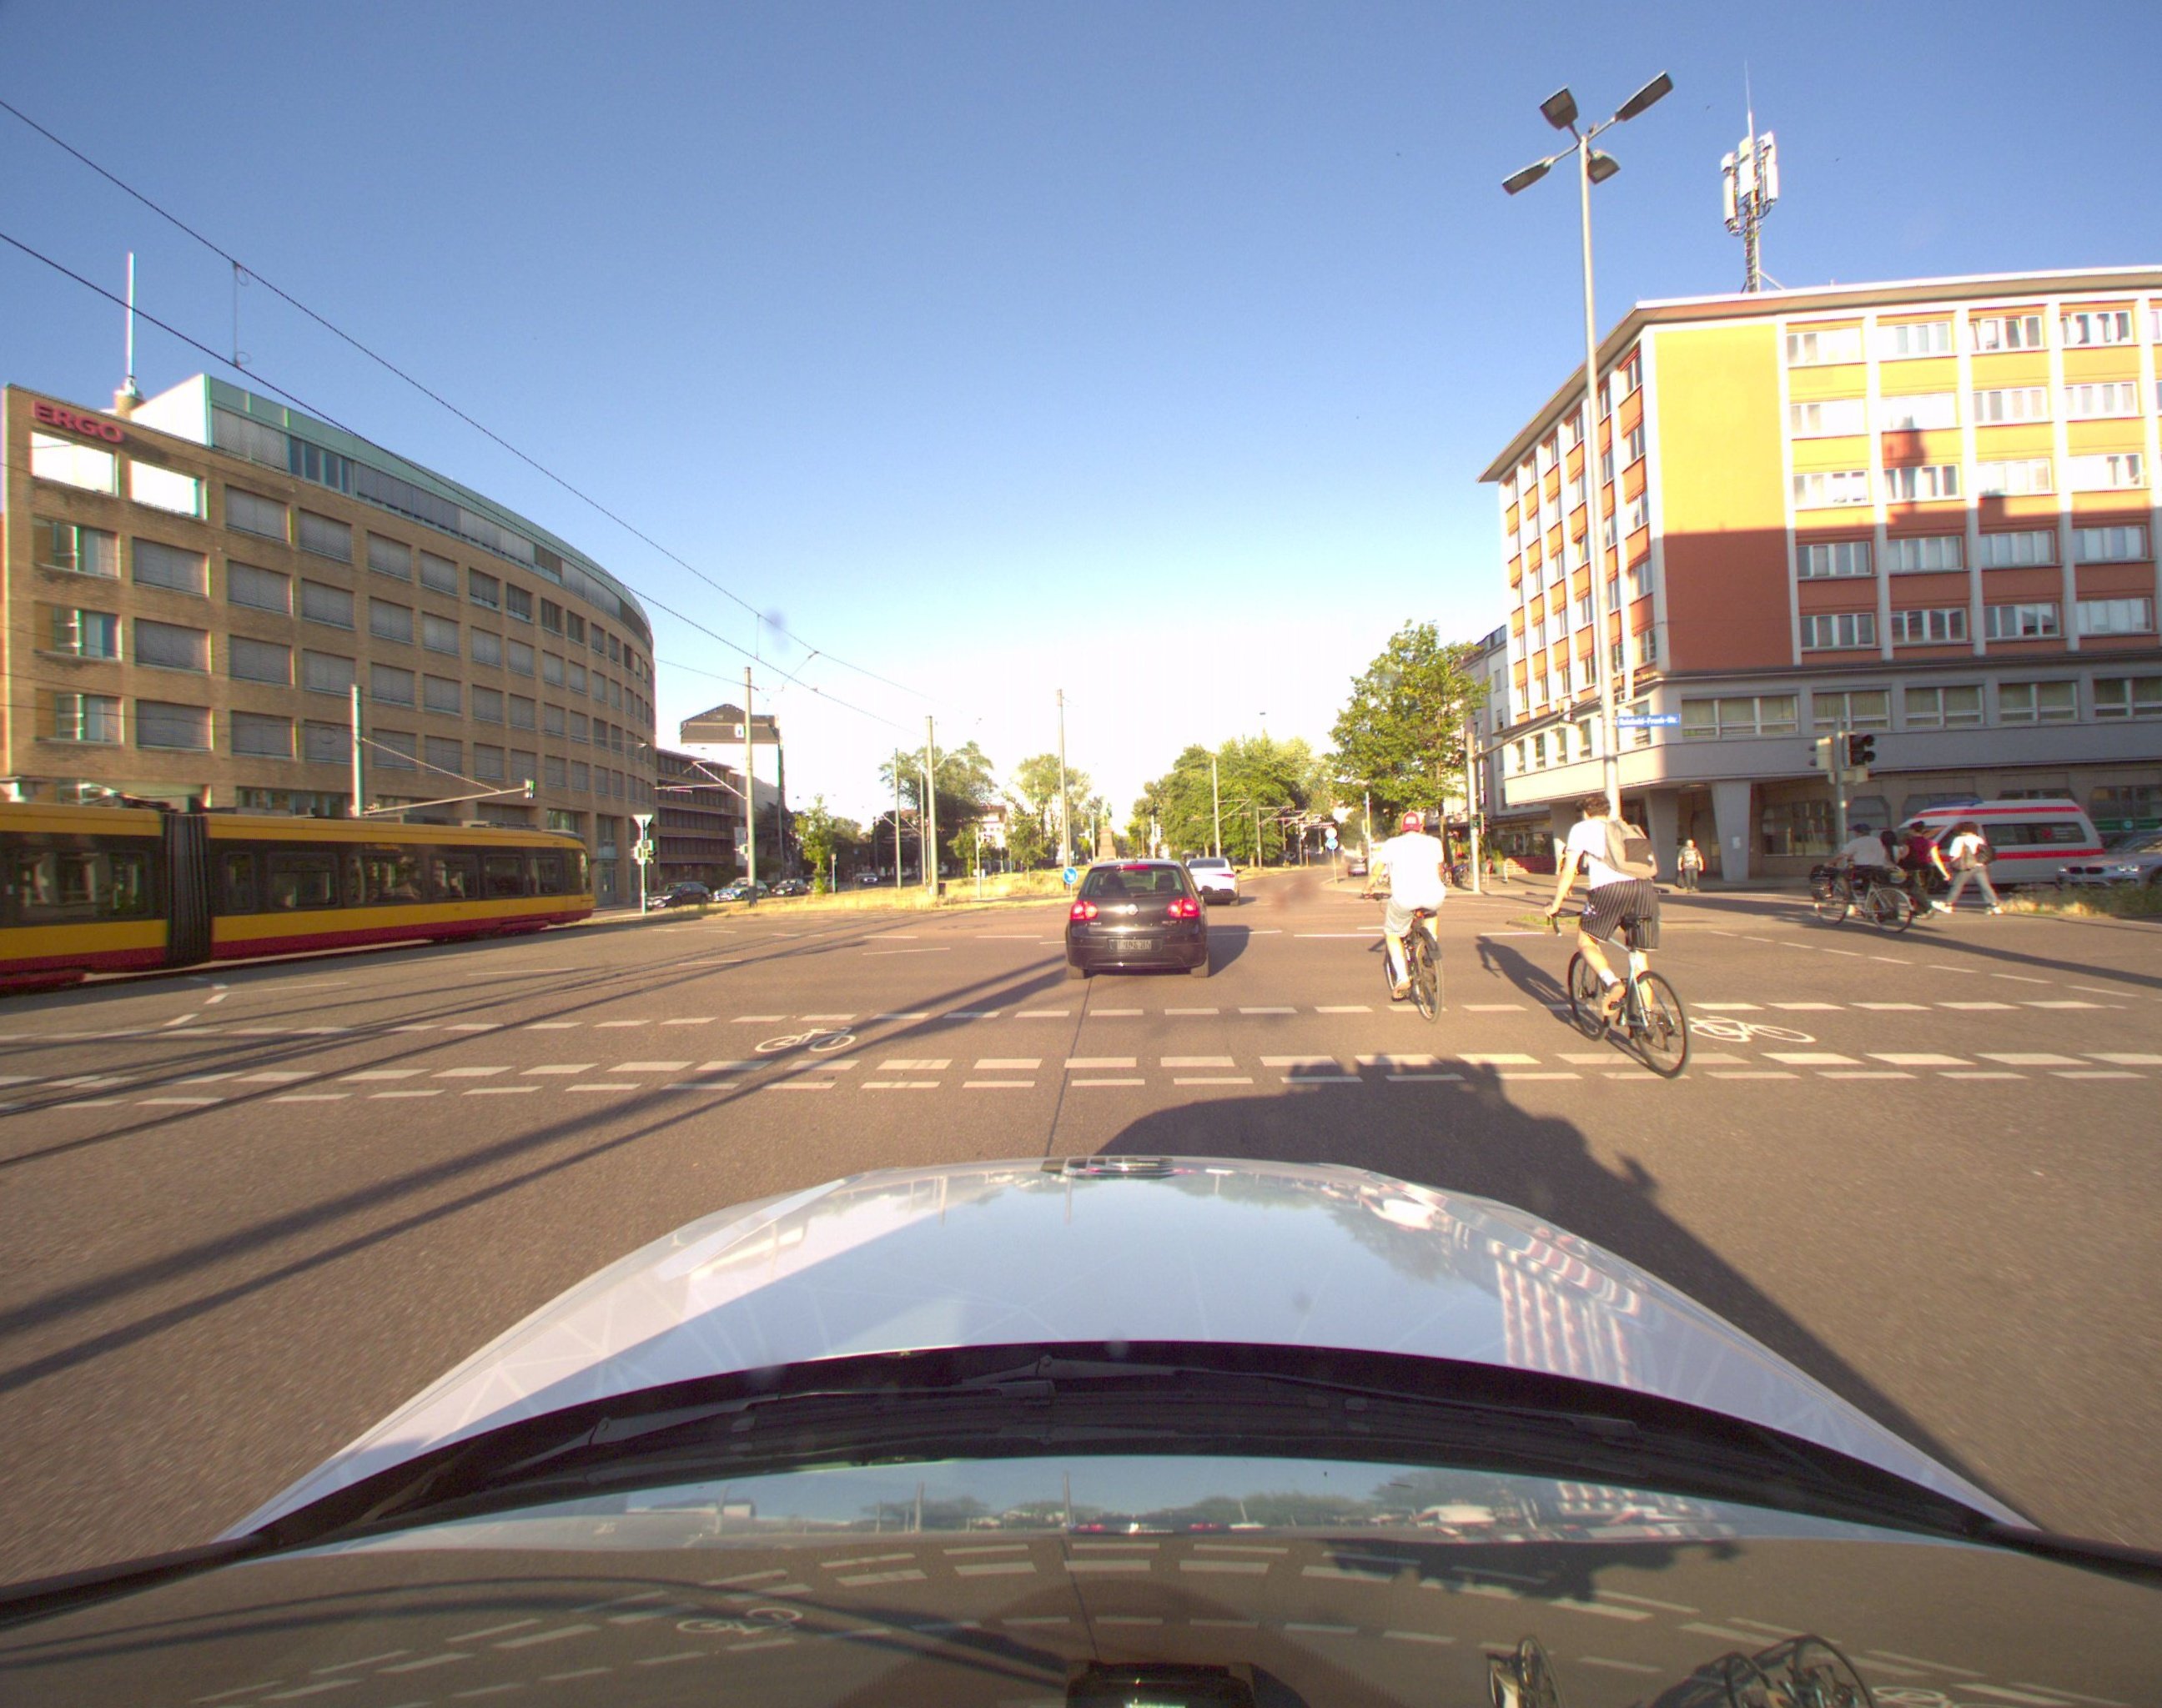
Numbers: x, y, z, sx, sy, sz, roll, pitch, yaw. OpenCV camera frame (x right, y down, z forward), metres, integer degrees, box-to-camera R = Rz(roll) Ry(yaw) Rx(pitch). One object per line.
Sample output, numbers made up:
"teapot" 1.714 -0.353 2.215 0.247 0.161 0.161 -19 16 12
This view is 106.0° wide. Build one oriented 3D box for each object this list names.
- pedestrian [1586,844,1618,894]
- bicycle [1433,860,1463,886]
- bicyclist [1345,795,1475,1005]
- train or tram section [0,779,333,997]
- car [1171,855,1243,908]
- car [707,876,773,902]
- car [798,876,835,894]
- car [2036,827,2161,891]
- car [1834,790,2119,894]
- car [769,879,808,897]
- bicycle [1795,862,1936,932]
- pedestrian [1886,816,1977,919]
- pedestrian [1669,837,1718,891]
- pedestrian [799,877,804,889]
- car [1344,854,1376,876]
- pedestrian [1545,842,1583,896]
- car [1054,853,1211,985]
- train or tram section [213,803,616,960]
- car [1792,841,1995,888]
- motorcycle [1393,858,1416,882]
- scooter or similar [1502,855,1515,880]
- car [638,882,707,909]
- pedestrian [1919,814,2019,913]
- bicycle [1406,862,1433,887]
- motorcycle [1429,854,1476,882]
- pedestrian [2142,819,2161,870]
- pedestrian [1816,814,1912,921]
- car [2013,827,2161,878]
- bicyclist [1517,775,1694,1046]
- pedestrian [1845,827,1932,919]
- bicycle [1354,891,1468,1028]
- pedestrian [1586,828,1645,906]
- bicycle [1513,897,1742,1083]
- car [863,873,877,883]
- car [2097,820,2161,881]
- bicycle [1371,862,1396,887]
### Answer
"pedestrian" 18.237 0.518 28.503 0.566 1.701 0.813 -2 -1 5
"bicycle" 17.646 0.917 39.212 0.641 1.158 2.127 -2 0 5
"bicyclist" 3.033 0.410 7.615 0.822 1.807 1.059 -2 -1 7
"train or tram section" -19.018 0.588 12.228 2.762 3.536 13.260 -2 -1 3
"car" 3.980 0.792 25.232 1.852 1.441 4.212 -2 -1 13
"car" -22.333 2.272 53.600 1.879 1.480 4.789 -2 -1 6
"car" -22.185 2.588 68.346 1.639 1.281 3.743 -2 0 4
"car" 24.974 0.056 18.624 3.970 1.376 1.807 -2 -1 3
"car" 23.708 -0.289 21.733 5.228 2.482 1.927 -2 -1 3
"car" -22.085 2.564 61.591 1.514 1.153 3.600 -2 0 2
"bicycle" 12.191 0.638 12.734 0.518 0.981 1.852 -2 0 5
"pedestrian" 14.308 0.222 13.722 0.678 1.662 0.747 -2 -1 4
"pedestrian" 19.939 0.314 26.528 0.779 1.701 1.028 -2 -1 5
"pedestrian" -34.847 3.616 101.624 0.412 1.430 0.485 -2 -1 3
"car" 21.458 0.846 62.603 1.712 1.472 3.922 -5 -2 26
"pedestrian" 14.525 0.441 24.511 0.678 1.589 0.748 -2 -1 8
"car" 0.882 0.752 11.241 1.737 1.461 4.113 -2 -1 9
"train or tram section" -18.444 0.684 24.102 2.762 3.536 10.578 -2 -1 3
"car" 26.584 0.344 26.776 4.639 1.341 1.842 -2 -1 4
"motorcycle" 17.611 0.841 44.349 0.662 1.242 2.207 -2 -1 10
"scooter or similar" 21.373 0.669 40.710 0.411 1.254 1.189 -2 -1 23
"car" -22.812 2.275 45.612 1.717 1.282 3.792 -2 -1 3
"pedestrian" 15.647 0.164 14.375 0.724 1.662 0.907 -2 -1 4
"bicycle" 16.349 0.968 39.376 0.641 1.126 1.877 -2 0 5
"motorcycle" 19.310 0.731 42.365 2.031 1.406 0.763 -2 -1 11
"pedestrian" 37.967 -0.344 28.478 0.813 1.756 0.641 -2 -1 6
"pedestrian" 12.176 0.214 12.694 0.672 1.590 0.762 -2 -3 5
"car" 33.505 -0.053 26.670 3.745 1.510 1.758 -2 0 4
"bicyclist" 3.790 0.387 5.980 0.670 1.807 0.996 -2 -1 7
"pedestrian" 13.626 0.314 13.768 0.678 1.500 0.747 -2 -1 4
"bicycle" 3.018 0.904 7.622 0.475 1.028 1.985 -2 -1 8
"pedestrian" 12.103 0.284 18.470 0.658 1.704 1.074 -2 -1 8
"bicycle" 3.789 0.873 5.847 0.572 1.028 1.861 -2 -1 8
"car" -32.014 3.604 123.676 1.771 1.482 4.292 -2 0 -12
"car" 30.023 -0.152 21.577 4.056 1.571 1.598 -2 0 2
"bicycle" 14.629 0.996 39.424 0.641 1.126 1.877 -2 0 5
